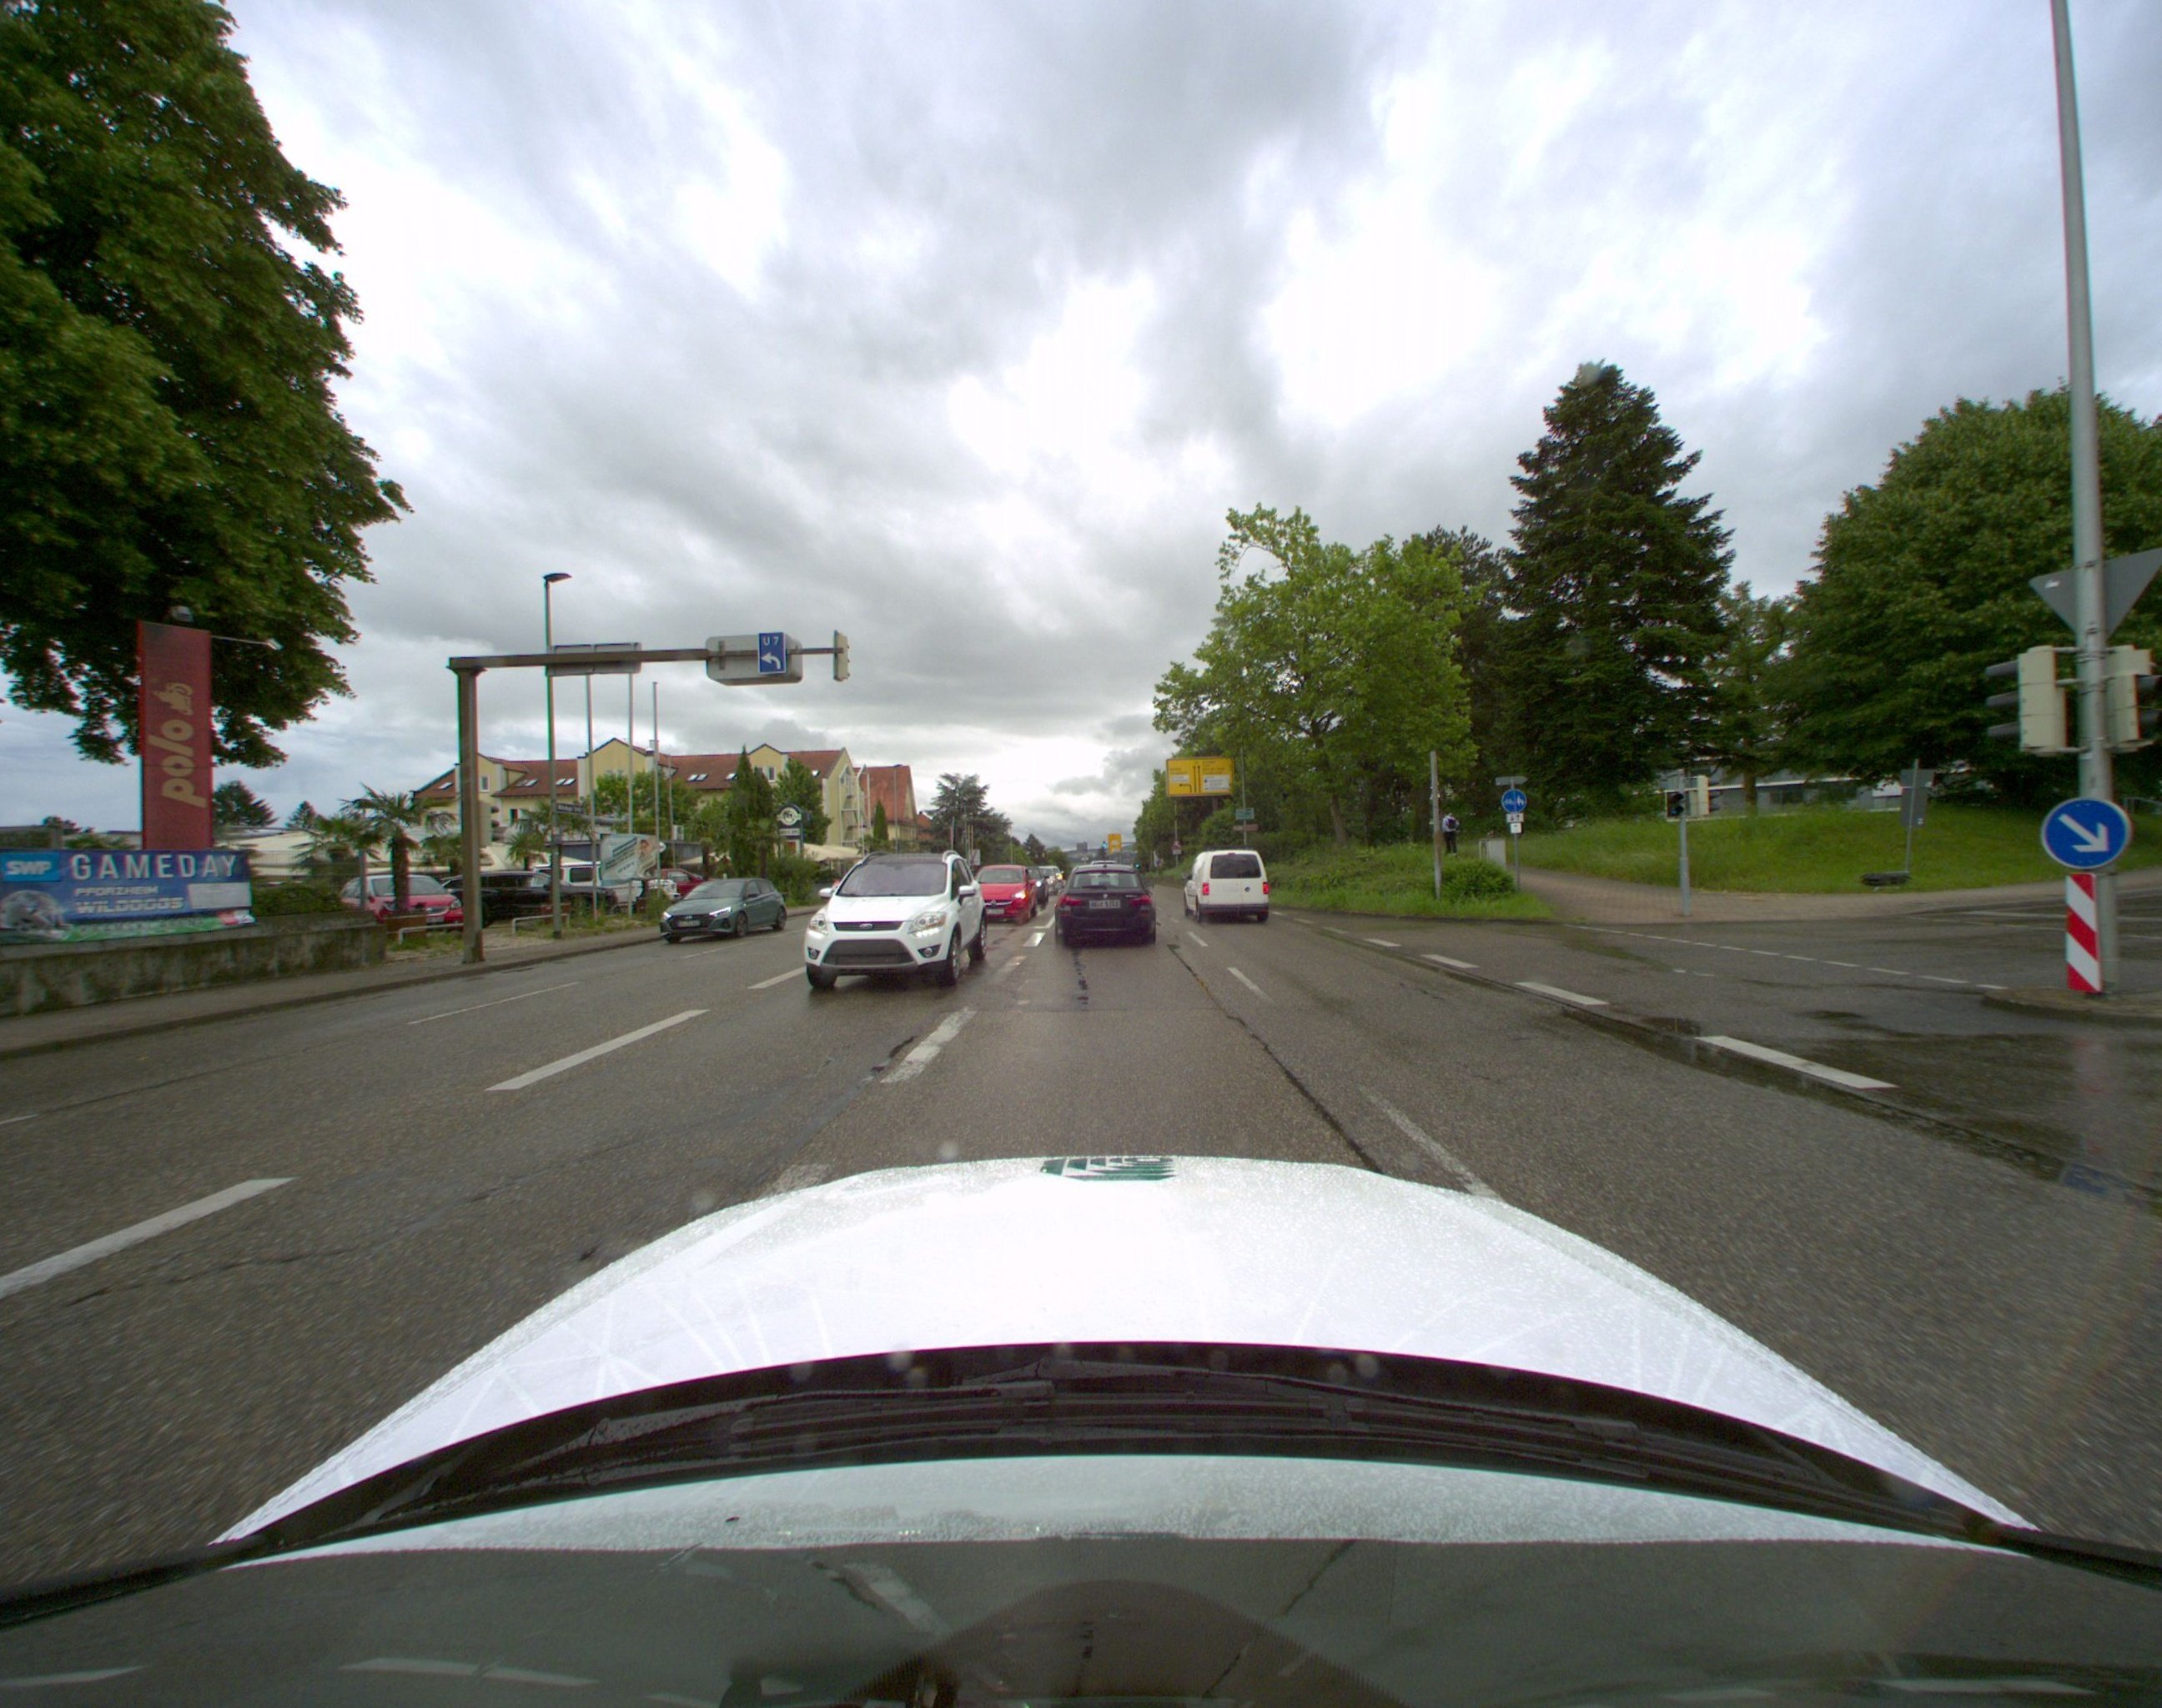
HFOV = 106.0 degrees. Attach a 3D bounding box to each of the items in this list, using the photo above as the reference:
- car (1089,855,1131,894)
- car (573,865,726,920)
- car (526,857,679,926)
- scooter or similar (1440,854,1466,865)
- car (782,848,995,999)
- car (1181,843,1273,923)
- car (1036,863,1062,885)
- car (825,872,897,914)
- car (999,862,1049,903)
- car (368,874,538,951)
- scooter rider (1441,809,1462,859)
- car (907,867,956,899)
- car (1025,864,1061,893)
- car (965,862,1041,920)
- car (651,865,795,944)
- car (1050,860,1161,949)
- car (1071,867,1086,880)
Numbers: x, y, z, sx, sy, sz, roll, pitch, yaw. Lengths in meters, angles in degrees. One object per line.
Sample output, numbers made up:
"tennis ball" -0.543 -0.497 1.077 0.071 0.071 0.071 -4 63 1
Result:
"car" 1.372 0.898 38.320 1.861 1.673 4.002 -1 0 2
"car" -16.632 1.502 31.658 5.024 1.702 1.982 -3 -3 -27
"car" -16.615 1.274 28.593 4.410 2.013 1.982 -4 0 -27
"scooter or similar" 14.698 0.203 32.226 0.485 0.403 1.256 -2 0 1
"car" -2.399 0.785 11.345 1.833 1.649 4.297 -2 0 1
"car" 3.702 0.670 21.279 1.758 1.877 3.806 -1 0 1
"car" -2.386 1.515 60.991 1.782 1.581 4.237 -2 -1 -1
"car" -8.531 1.481 31.900 1.617 1.332 3.947 -3 0 1
"car" -2.170 1.067 32.021 1.596 1.441 3.949 -1 0 1
"car" -13.735 1.273 17.781 3.572 1.504 1.676 -4 -2 30
"scooter rider" 14.660 -0.785 32.238 0.499 1.965 0.548 -2 0 1
"car" -7.563 1.450 41.606 1.597 1.400 4.404 -4 0 0
"car" -1.926 1.260 42.201 1.596 1.441 3.948 -1 -1 1
"car" -2.048 0.978 22.376 1.626 1.434 4.144 -1 -1 1
"car" -8.774 1.176 20.367 1.670 1.618 4.001 -3 0 1
"car" 0.490 0.885 15.948 1.891 1.441 4.002 -1 0 2
"car" -0.262 2.608 111.446 1.861 1.673 4.002 -1 0 2
